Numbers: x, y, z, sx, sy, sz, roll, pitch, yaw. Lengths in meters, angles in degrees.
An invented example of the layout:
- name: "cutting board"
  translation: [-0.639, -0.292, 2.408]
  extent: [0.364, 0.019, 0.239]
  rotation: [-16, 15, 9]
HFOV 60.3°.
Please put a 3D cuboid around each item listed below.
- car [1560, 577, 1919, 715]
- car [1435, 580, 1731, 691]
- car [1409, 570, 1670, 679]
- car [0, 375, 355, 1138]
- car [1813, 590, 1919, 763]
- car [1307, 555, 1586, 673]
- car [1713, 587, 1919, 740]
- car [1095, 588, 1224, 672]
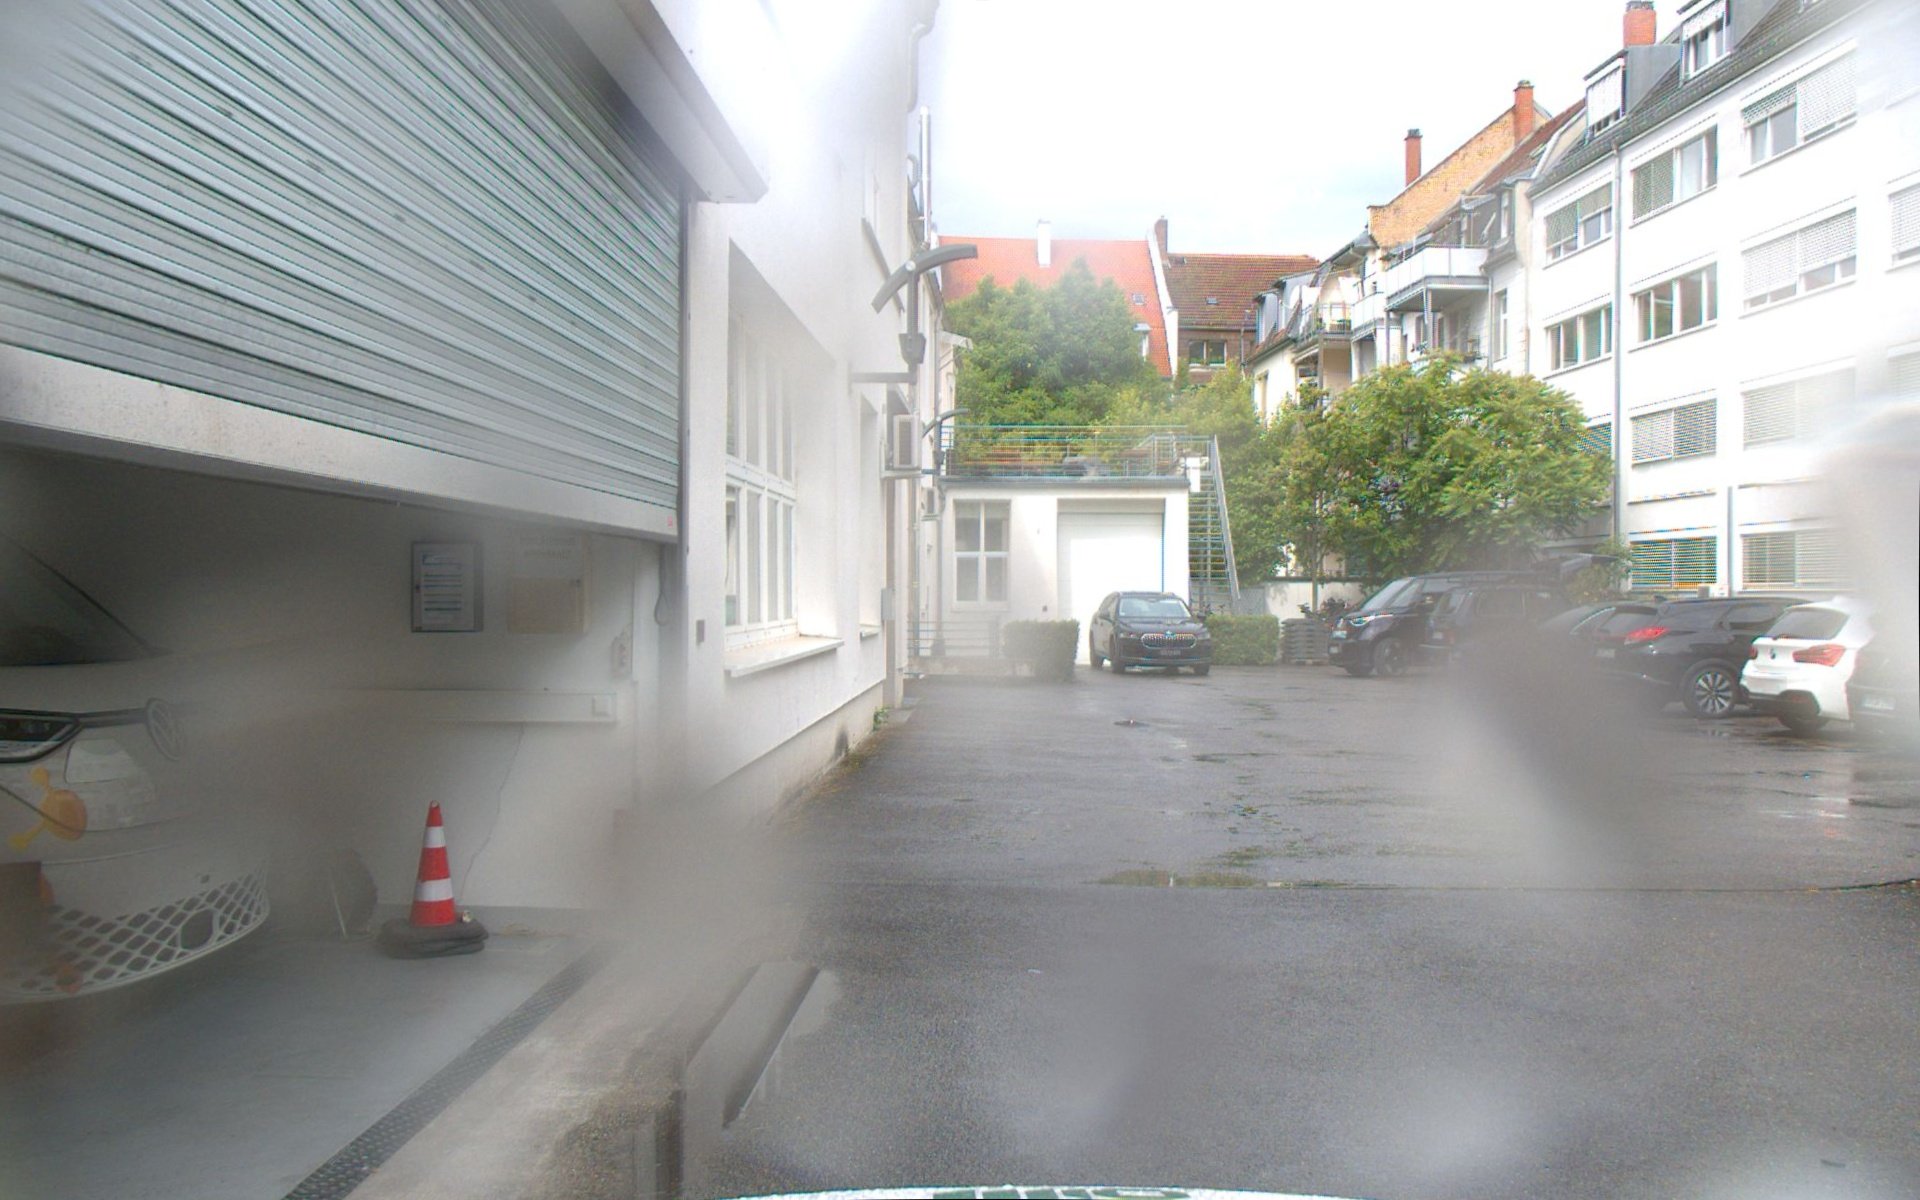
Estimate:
- name: "car"
  translation: [9.792, 0.546, 20.746]
  extent: [3.833, 1.540, 1.817]
  rotation: [-1, 0, -6]
- name: "car"
  translation: [9.460, 0.526, 25.280]
  extent: [3.831, 1.540, 1.751]
  rotation: [-1, 0, -4]
- name: "car"
  translation: [9.935, 0.409, 28.563]
  extent: [3.829, 1.717, 1.817]
  rotation: [-1, 0, 0]
- name: "car"
  translation: [-4.731, 0.374, 5.536]
  extent: [4.593, 2.049, 2.085]
  rotation: [1, 0, 1]
- name: "car"
  translation: [10.074, 0.598, 14.868]
  extent: [3.908, 1.427, 1.772]
  rotation: [-2, 1, -3]
- name: "car"
  translation: [9.156, 0.233, 31.335]
  extent: [4.549, 2.038, 2.221]
  rotation: [-1, 1, -9]
- name: "car"
  translation: [10.292, 0.609, 17.434]
  extent: [3.908, 1.484, 1.772]
  rotation: [-1, 0, -4]
- name: "car"
  translation: [3.684, 0.520, 31.233]
  extent: [1.939, 1.469, 4.000]
  rotation: [0, 0, 0]
